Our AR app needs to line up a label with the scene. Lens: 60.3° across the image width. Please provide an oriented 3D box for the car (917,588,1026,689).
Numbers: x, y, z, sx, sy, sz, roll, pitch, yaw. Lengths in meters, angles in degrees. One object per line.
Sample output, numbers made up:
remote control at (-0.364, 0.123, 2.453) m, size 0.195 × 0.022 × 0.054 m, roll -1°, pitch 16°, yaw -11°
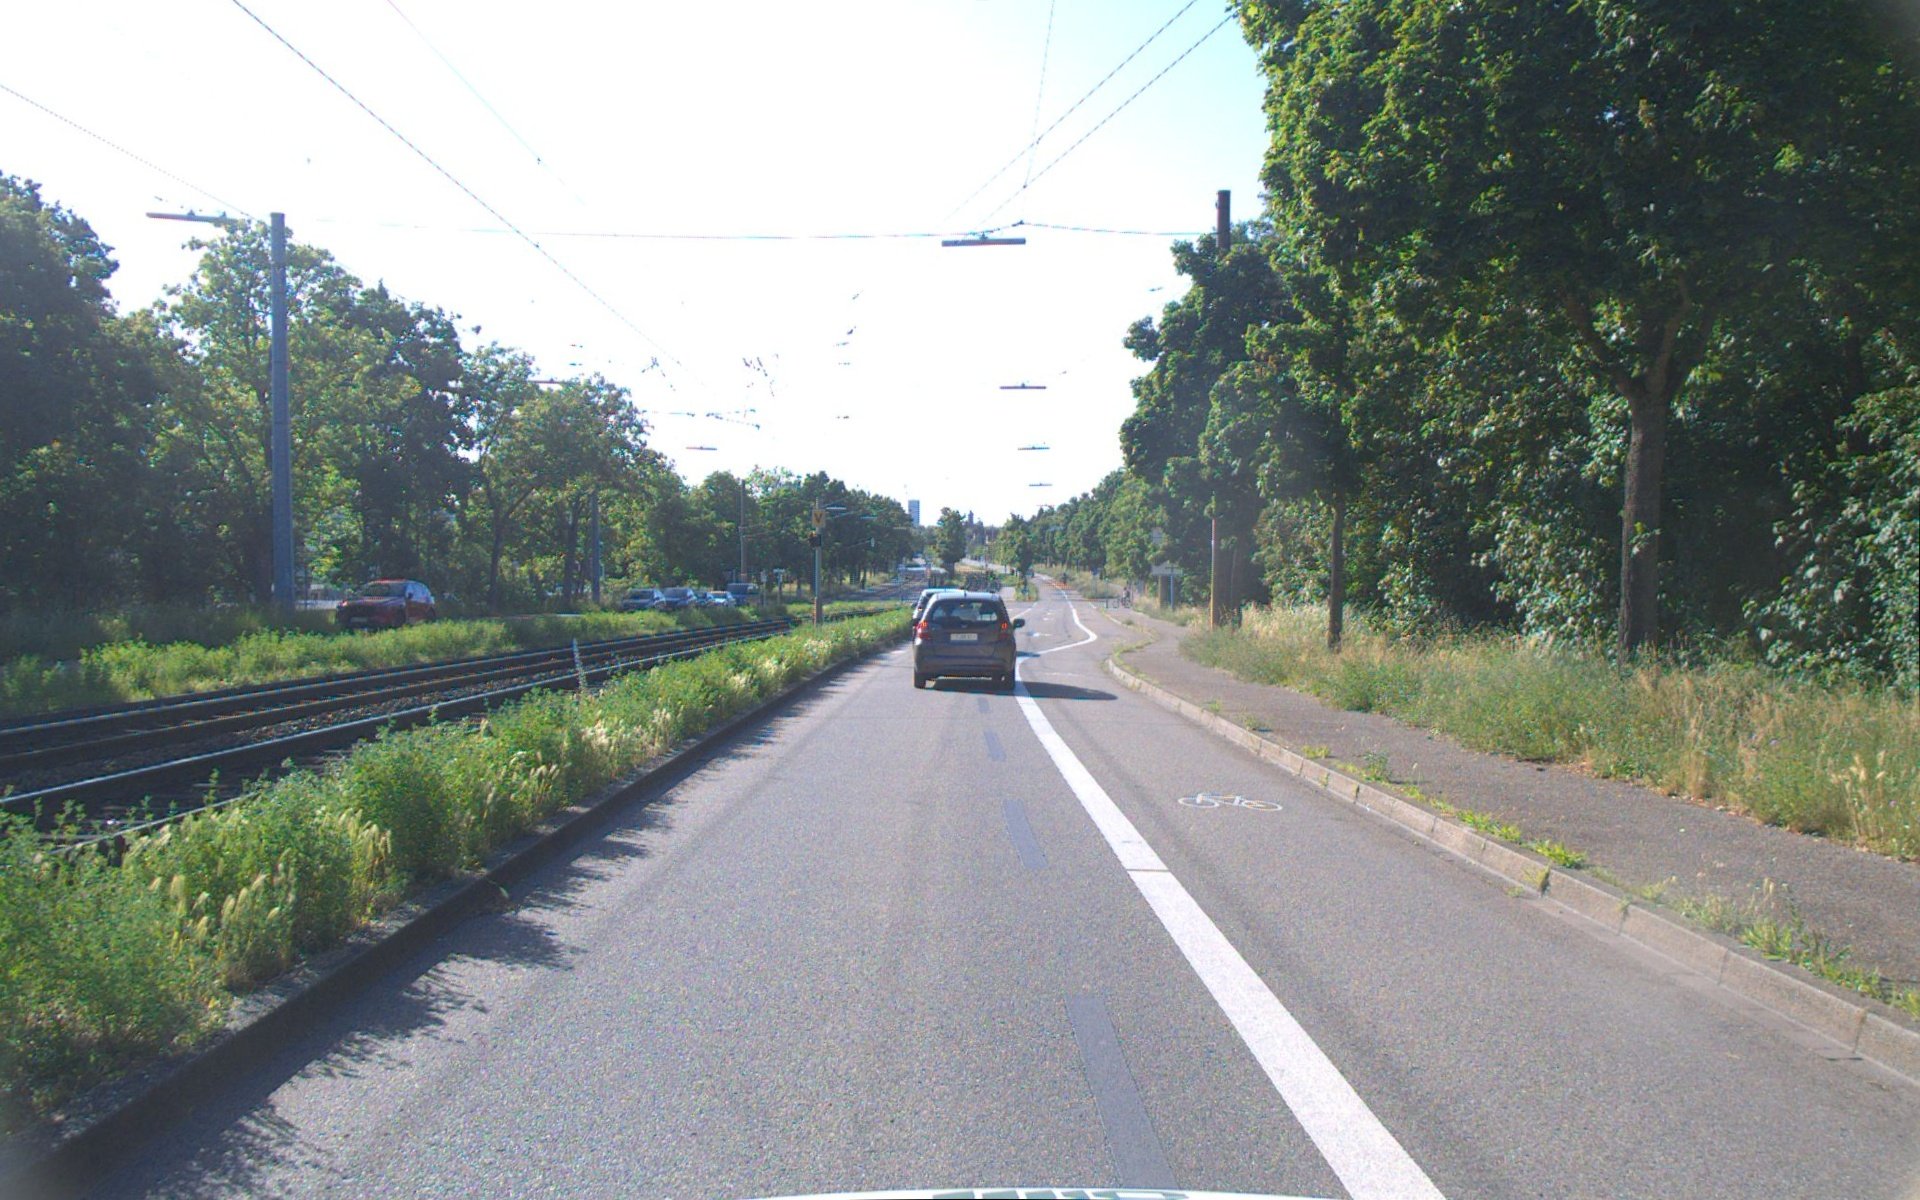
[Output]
car at (0.217, 0.589, 27.779) m, size 1.671 × 1.535 × 4.001 m, roll 1°, pitch 0°, yaw 1°

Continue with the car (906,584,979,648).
car at (-0.423, 0.392, 44.656) m, size 1.812 × 1.634 × 4.255 m, roll 1°, pitch 0°, yaw 1°

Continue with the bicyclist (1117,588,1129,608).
bicyclist at (14.040, -0.166, 142.635) m, size 0.891 × 1.775 × 0.765 m, roll -1°, pitch 0°, yaw 15°

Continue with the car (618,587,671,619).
car at (-16.187, 0.159, 85.014) m, size 1.699 × 1.520 × 4.329 m, roll 2°, pitch 0°, yaw 2°

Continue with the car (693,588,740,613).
car at (-15.242, 0.026, 103.730) m, size 1.888 × 1.462 × 4.697 m, roll 1°, pitch 1°, yaw 4°

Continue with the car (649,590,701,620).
car at (-15.795, 0.259, 91.786) m, size 1.952 × 1.602 × 4.436 m, roll 1°, pitch 1°, yaw 2°

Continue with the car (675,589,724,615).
car at (-15.362, 0.126, 97.785) m, size 1.952 × 1.462 × 4.417 m, roll 1°, pitch 1°, yaw 4°

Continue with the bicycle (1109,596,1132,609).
bicycle at (13.845, 0.214, 142.687) m, size 1.879 × 1.015 × 0.765 m, roll -2°, pitch -1°, yaw 15°

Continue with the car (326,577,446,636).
car at (-17.638, 0.176, 51.026) m, size 1.962 × 1.732 × 4.468 m, roll 0°, pitch 0°, yaw 2°

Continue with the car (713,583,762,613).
car at (-14.753, -0.161, 110.086) m, size 2.150 × 1.924 × 4.794 m, roll 1°, pitch 1°, yaw 6°
